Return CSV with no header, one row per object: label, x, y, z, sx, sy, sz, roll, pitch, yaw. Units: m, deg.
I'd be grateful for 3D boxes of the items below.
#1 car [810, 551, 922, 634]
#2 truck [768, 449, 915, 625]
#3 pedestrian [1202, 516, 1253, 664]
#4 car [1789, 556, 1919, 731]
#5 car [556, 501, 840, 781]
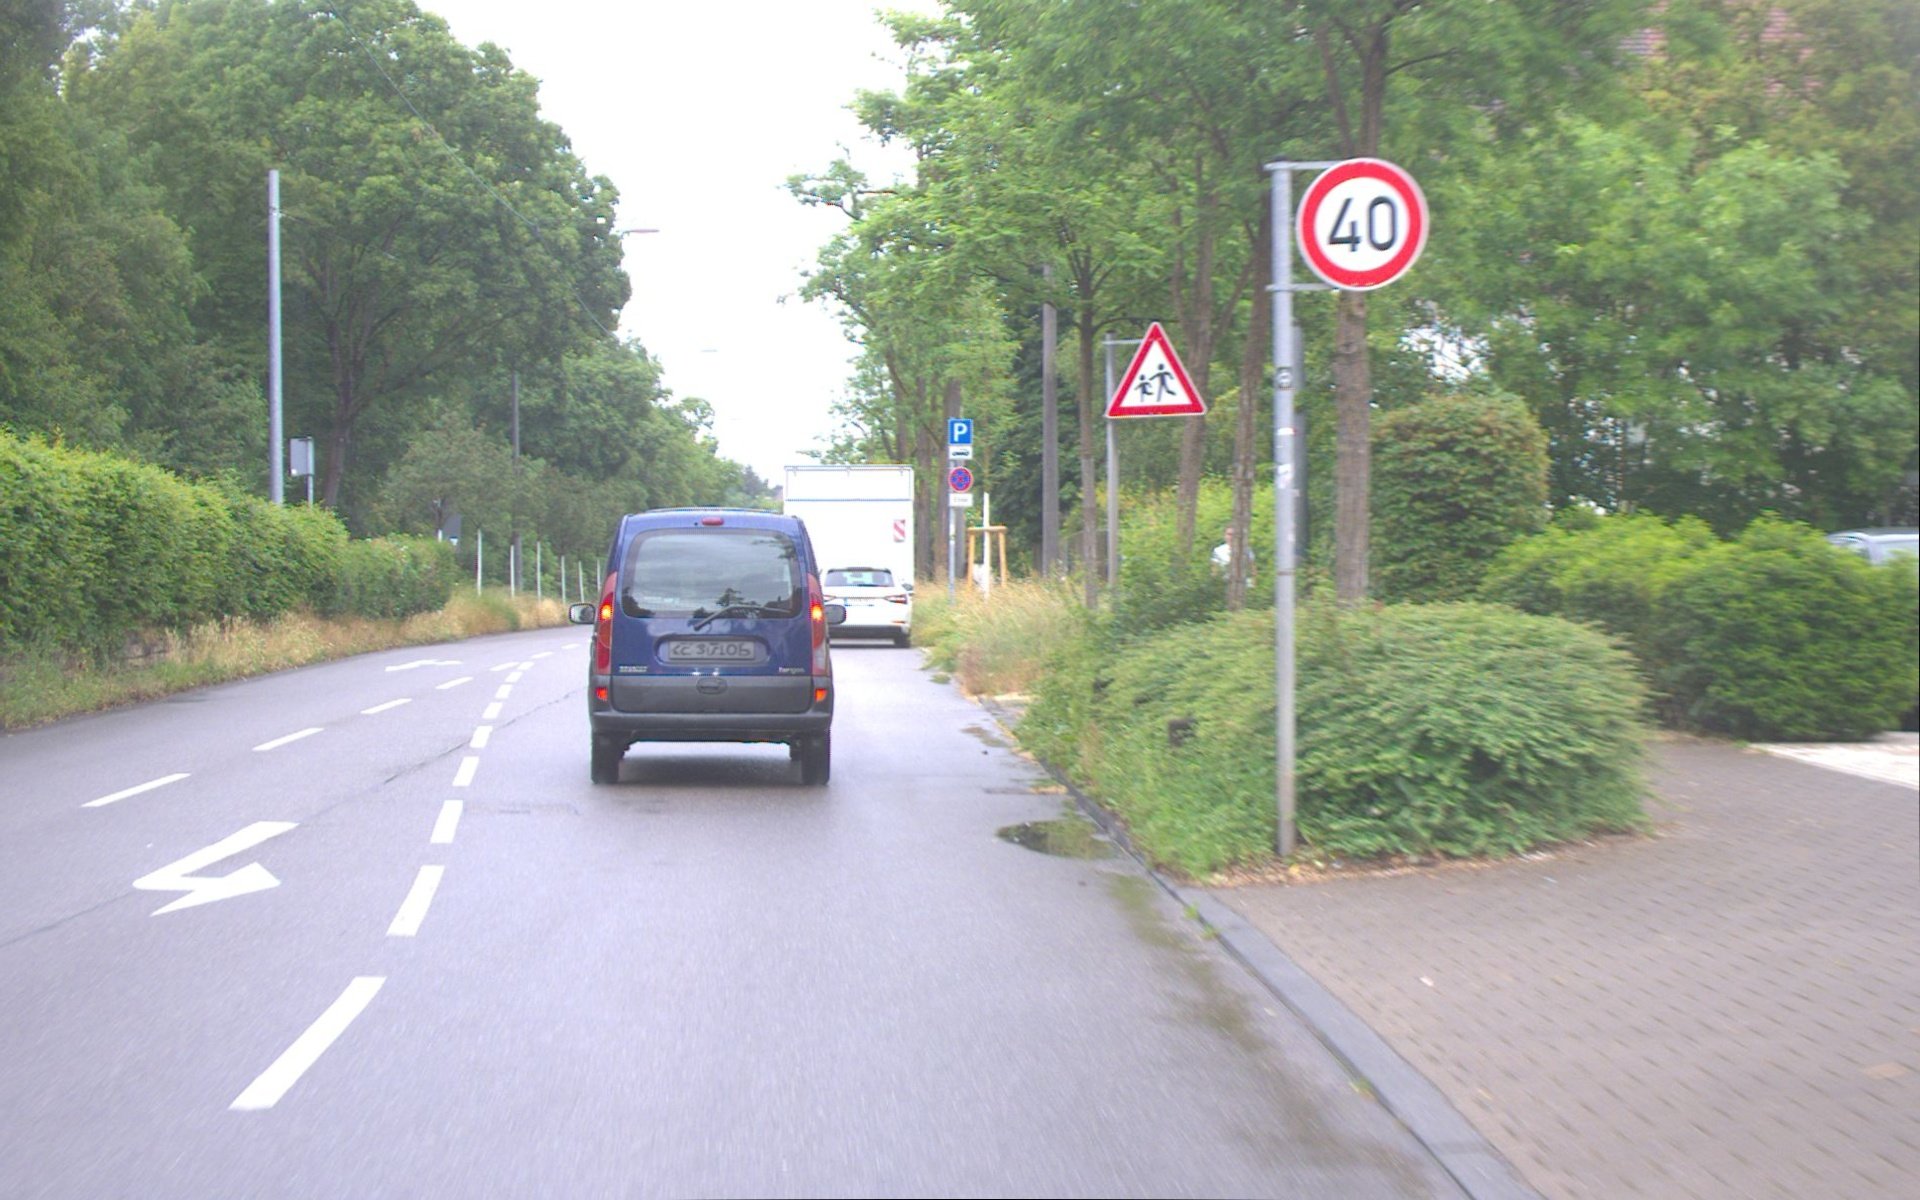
car,-1.671,-0.152,59.682,1.813,1.376,4.285,-1,1,-3
truck,-2.488,-1.264,70.238,2.731,3.375,6.686,-1,1,-4
pedestrian,3.107,-0.120,39.861,0.561,1.702,0.516,0,1,6
car,7.422,0.277,25.117,1.831,1.172,4.000,1,1,1
car,-1.803,0.240,24.213,1.808,1.791,4.001,-1,1,-3
